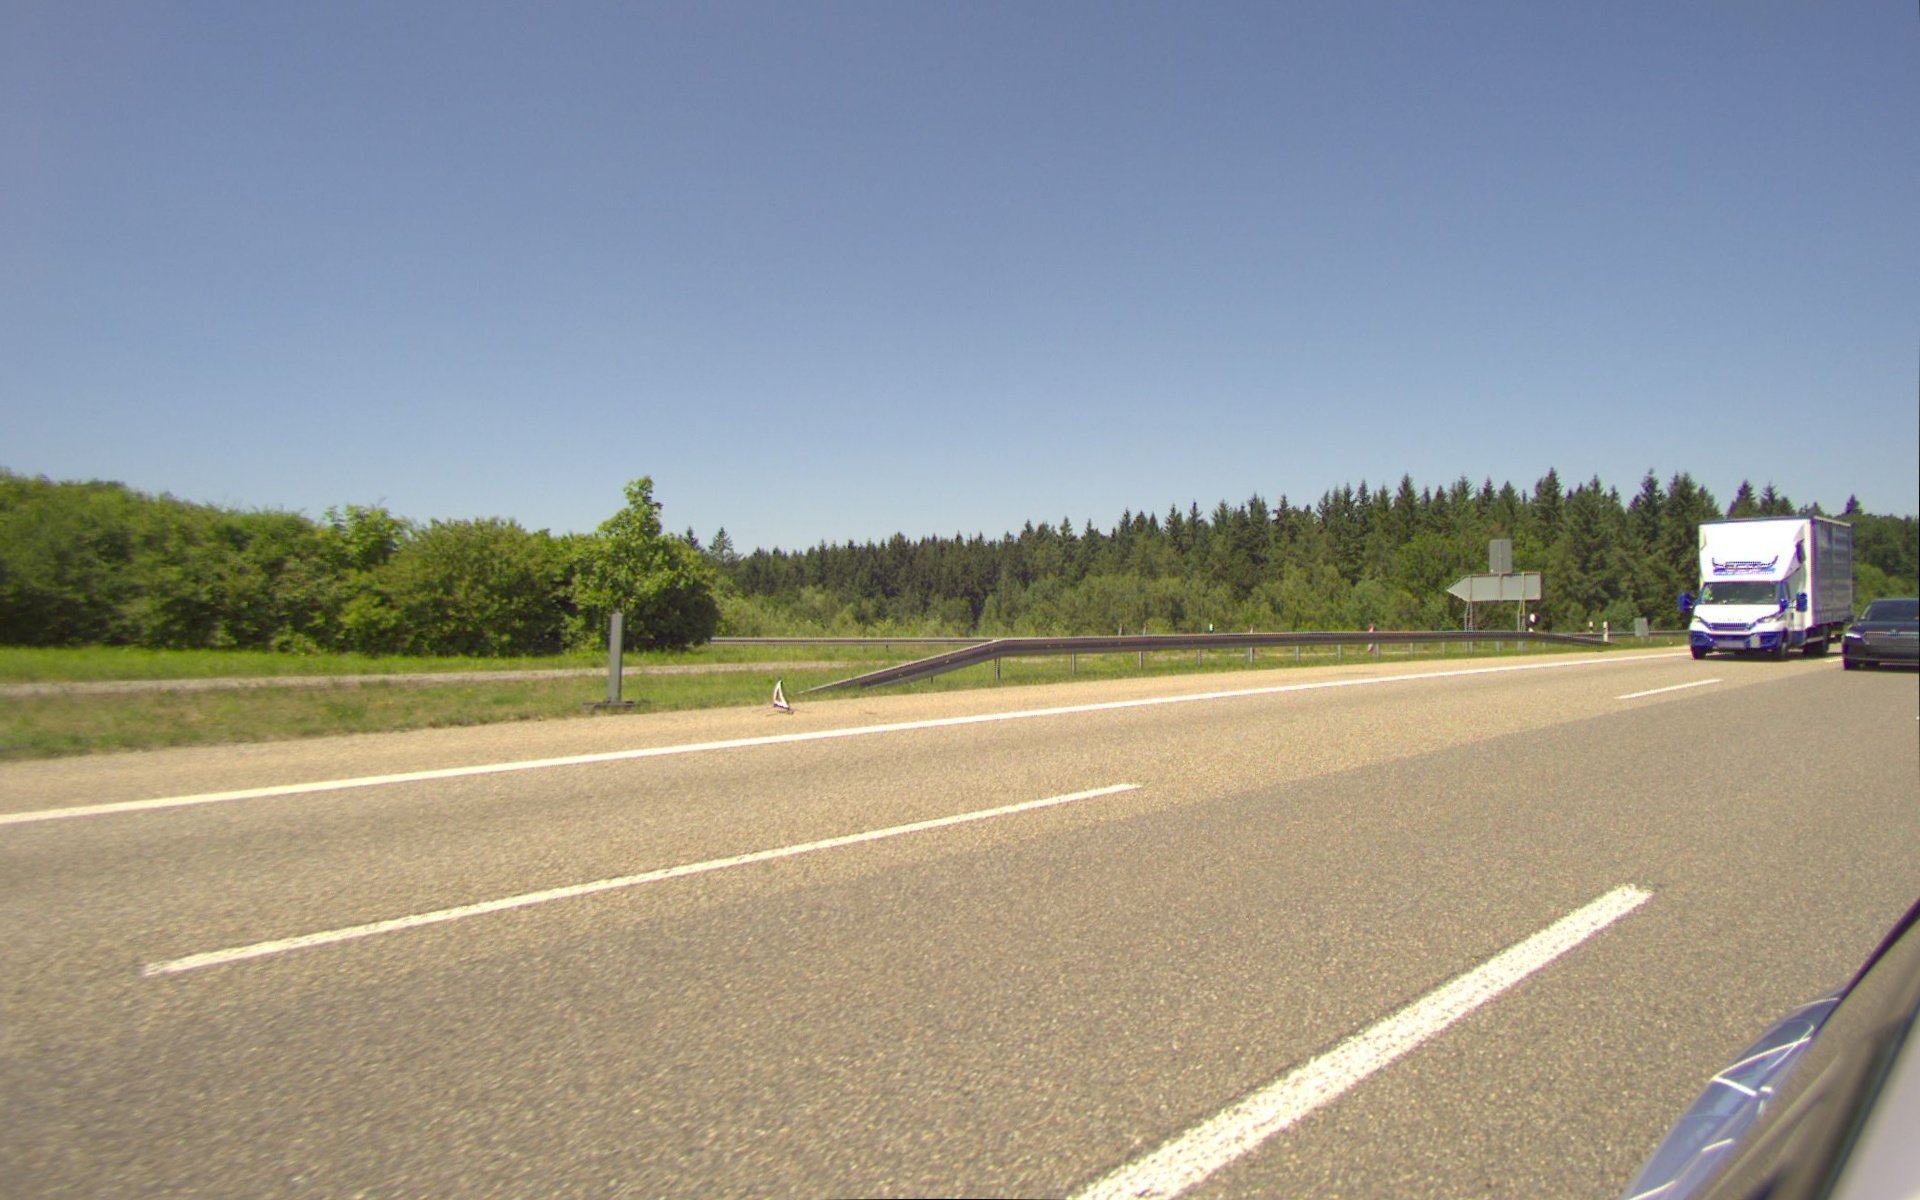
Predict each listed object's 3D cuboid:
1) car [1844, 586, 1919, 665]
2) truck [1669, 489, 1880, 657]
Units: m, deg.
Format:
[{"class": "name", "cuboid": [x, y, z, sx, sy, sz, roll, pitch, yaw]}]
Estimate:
[{"class": "car", "cuboid": [21.651, 0.589, 22.781, 4.377, 1.639, 1.989, 2, 0, -40]}, {"class": "truck", "cuboid": [23.695, -0.652, 29.193, 9.567, 4.181, 2.788, 0, -2, -40]}]
